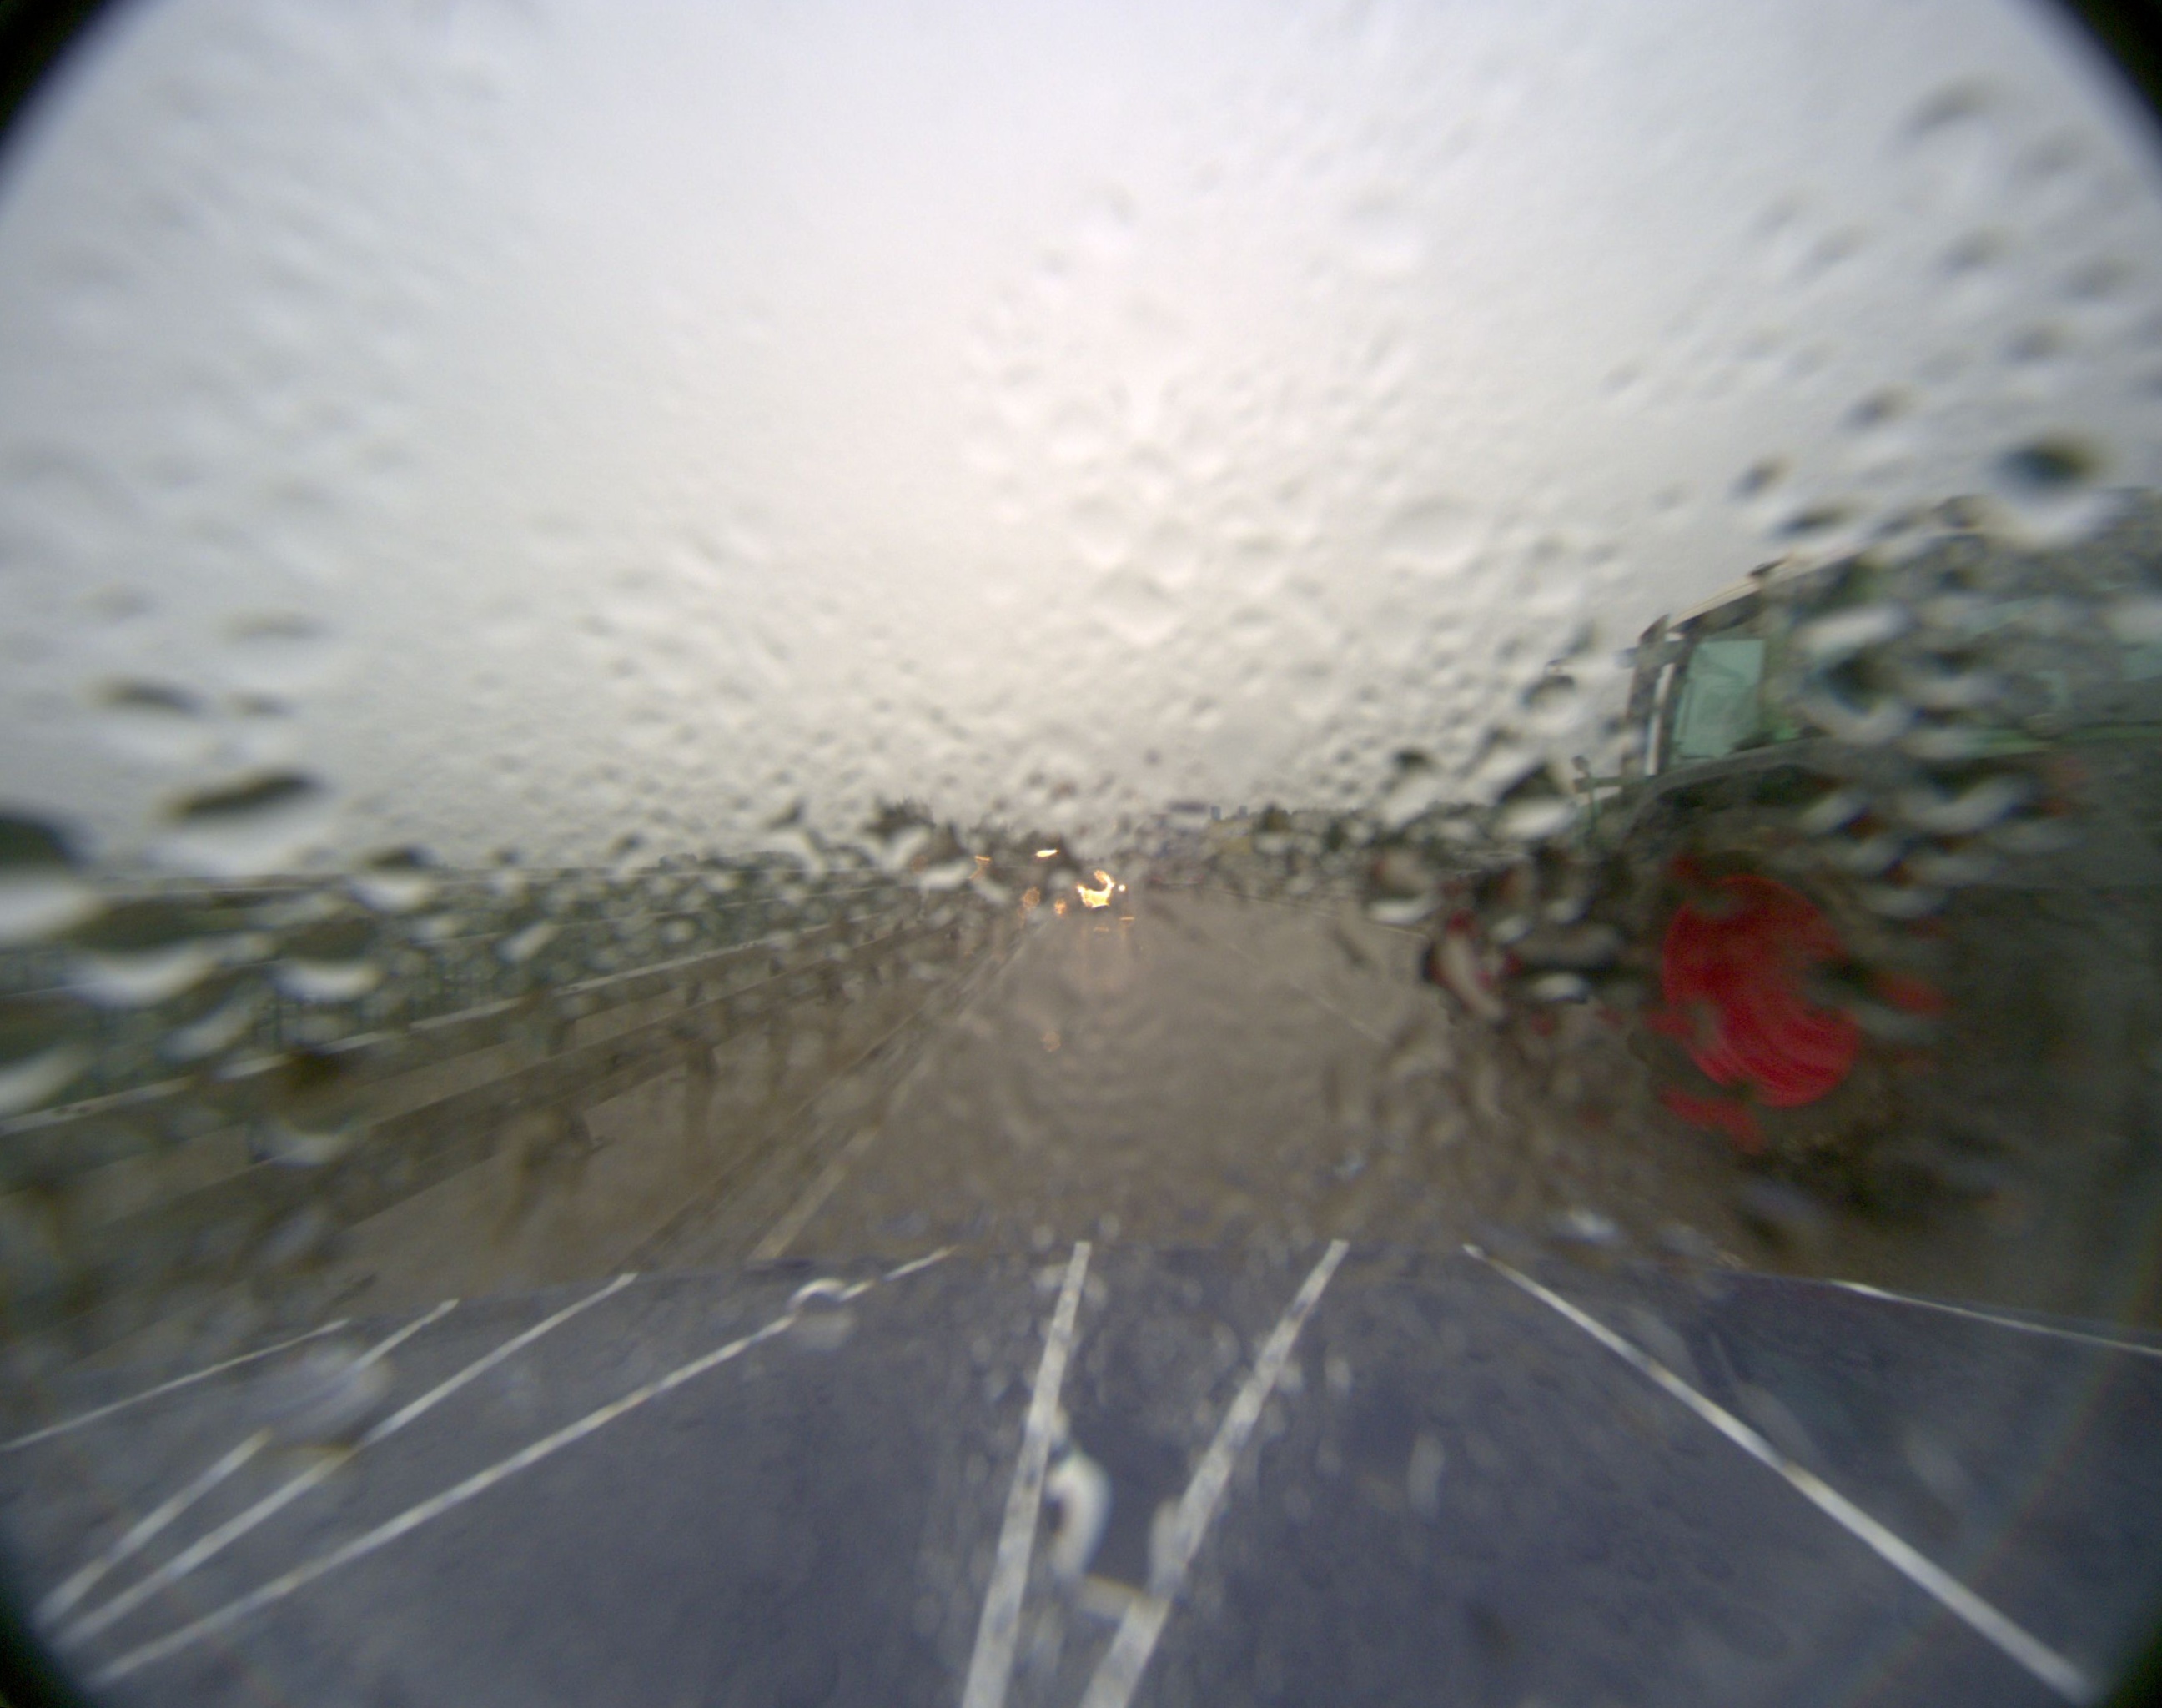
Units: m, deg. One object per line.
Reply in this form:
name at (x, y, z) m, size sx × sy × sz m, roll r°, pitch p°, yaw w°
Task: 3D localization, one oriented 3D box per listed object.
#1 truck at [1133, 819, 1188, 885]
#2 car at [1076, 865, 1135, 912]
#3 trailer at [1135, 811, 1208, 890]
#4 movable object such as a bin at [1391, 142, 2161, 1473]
truck at (5.143, -0.076, 50.704) m, size 2.825 × 3.946 × 8.764 m, roll -1°, pitch 0°, yaw 1°
car at (0.821, 1.122, 26.050) m, size 1.819 × 1.382 × 4.069 m, roll -3°, pitch 0°, yaw 1°
trailer at (5.058, -0.121, 45.207) m, size 2.825 × 3.946 × 13.737 m, roll -1°, pitch 0°, yaw 1°
movable object such as a bin at (4.118, -0.115, 4.262) m, size 2.756 × 3.425 × 4.642 m, roll -1°, pitch 0°, yaw -1°
